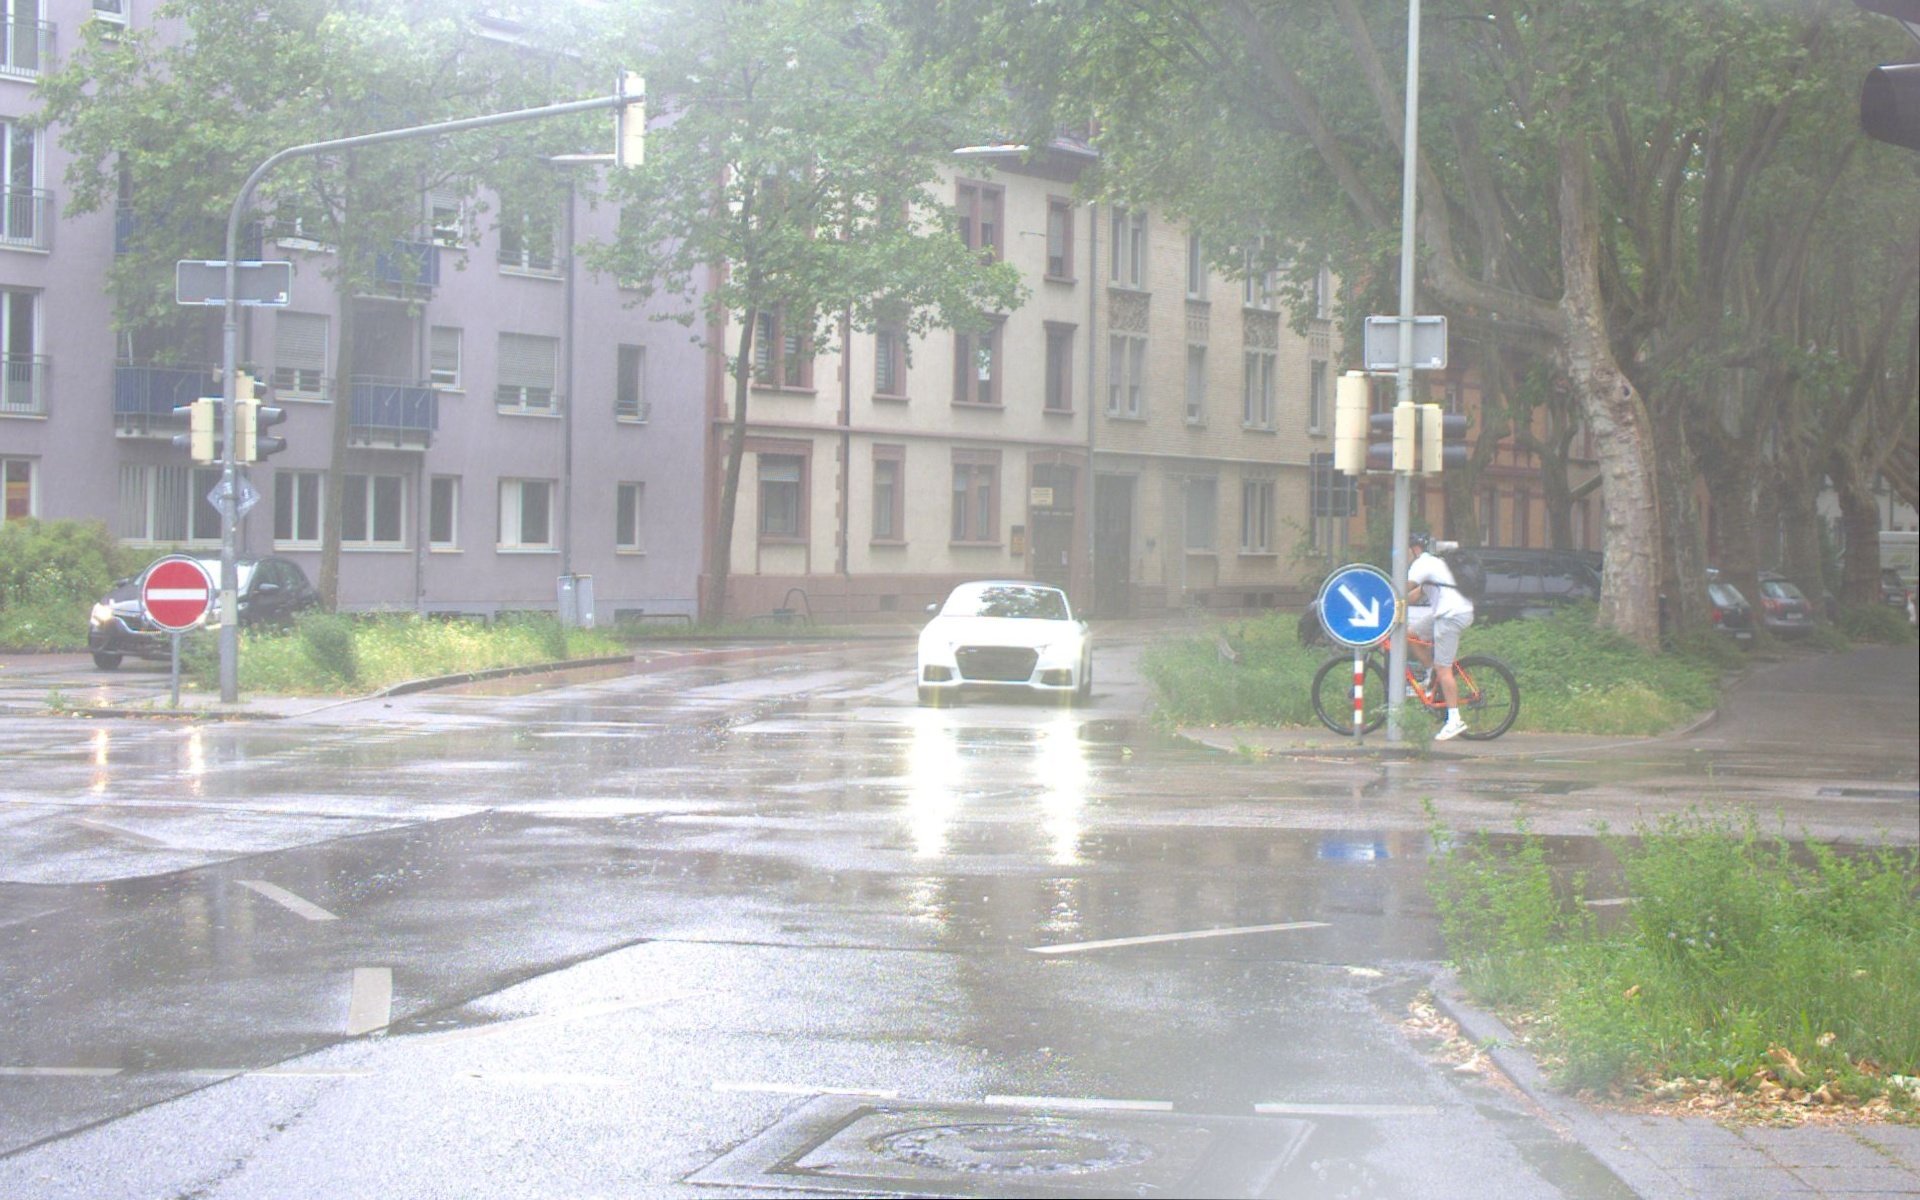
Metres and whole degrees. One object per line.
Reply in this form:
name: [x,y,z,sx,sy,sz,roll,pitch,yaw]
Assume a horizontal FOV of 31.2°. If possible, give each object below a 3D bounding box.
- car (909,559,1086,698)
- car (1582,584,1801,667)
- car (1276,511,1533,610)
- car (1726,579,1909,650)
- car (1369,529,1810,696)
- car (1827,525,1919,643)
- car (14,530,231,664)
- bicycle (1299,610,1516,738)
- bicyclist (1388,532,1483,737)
car: [0.454,0.283,39.107,1.884,1.431,4.000,1,1,1]
car: [13.930,0.466,65.489,3.989,1.481,1.999,1,1,12]
car: [7.019,-0.618,54.137,3.868,1.481,1.715,1,0,12]
car: [19.573,0.308,78.649,3.989,1.542,1.999,1,1,12]
car: [6.000,0.099,32.736,3.989,1.481,1.999,1,1,12]
car: [24.393,-0.413,87.711,2.033,2.938,4.773,1,1,-21]
car: [-10.048,-0.066,41.493,1.751,1.506,3.839,1,1,-2]
bicycle: [3.953,0.644,30.392,1.873,1.077,0.657,1,0,8]
bicyclist: [4.195,0.296,30.358,0.795,1.780,0.697,1,0,8]
